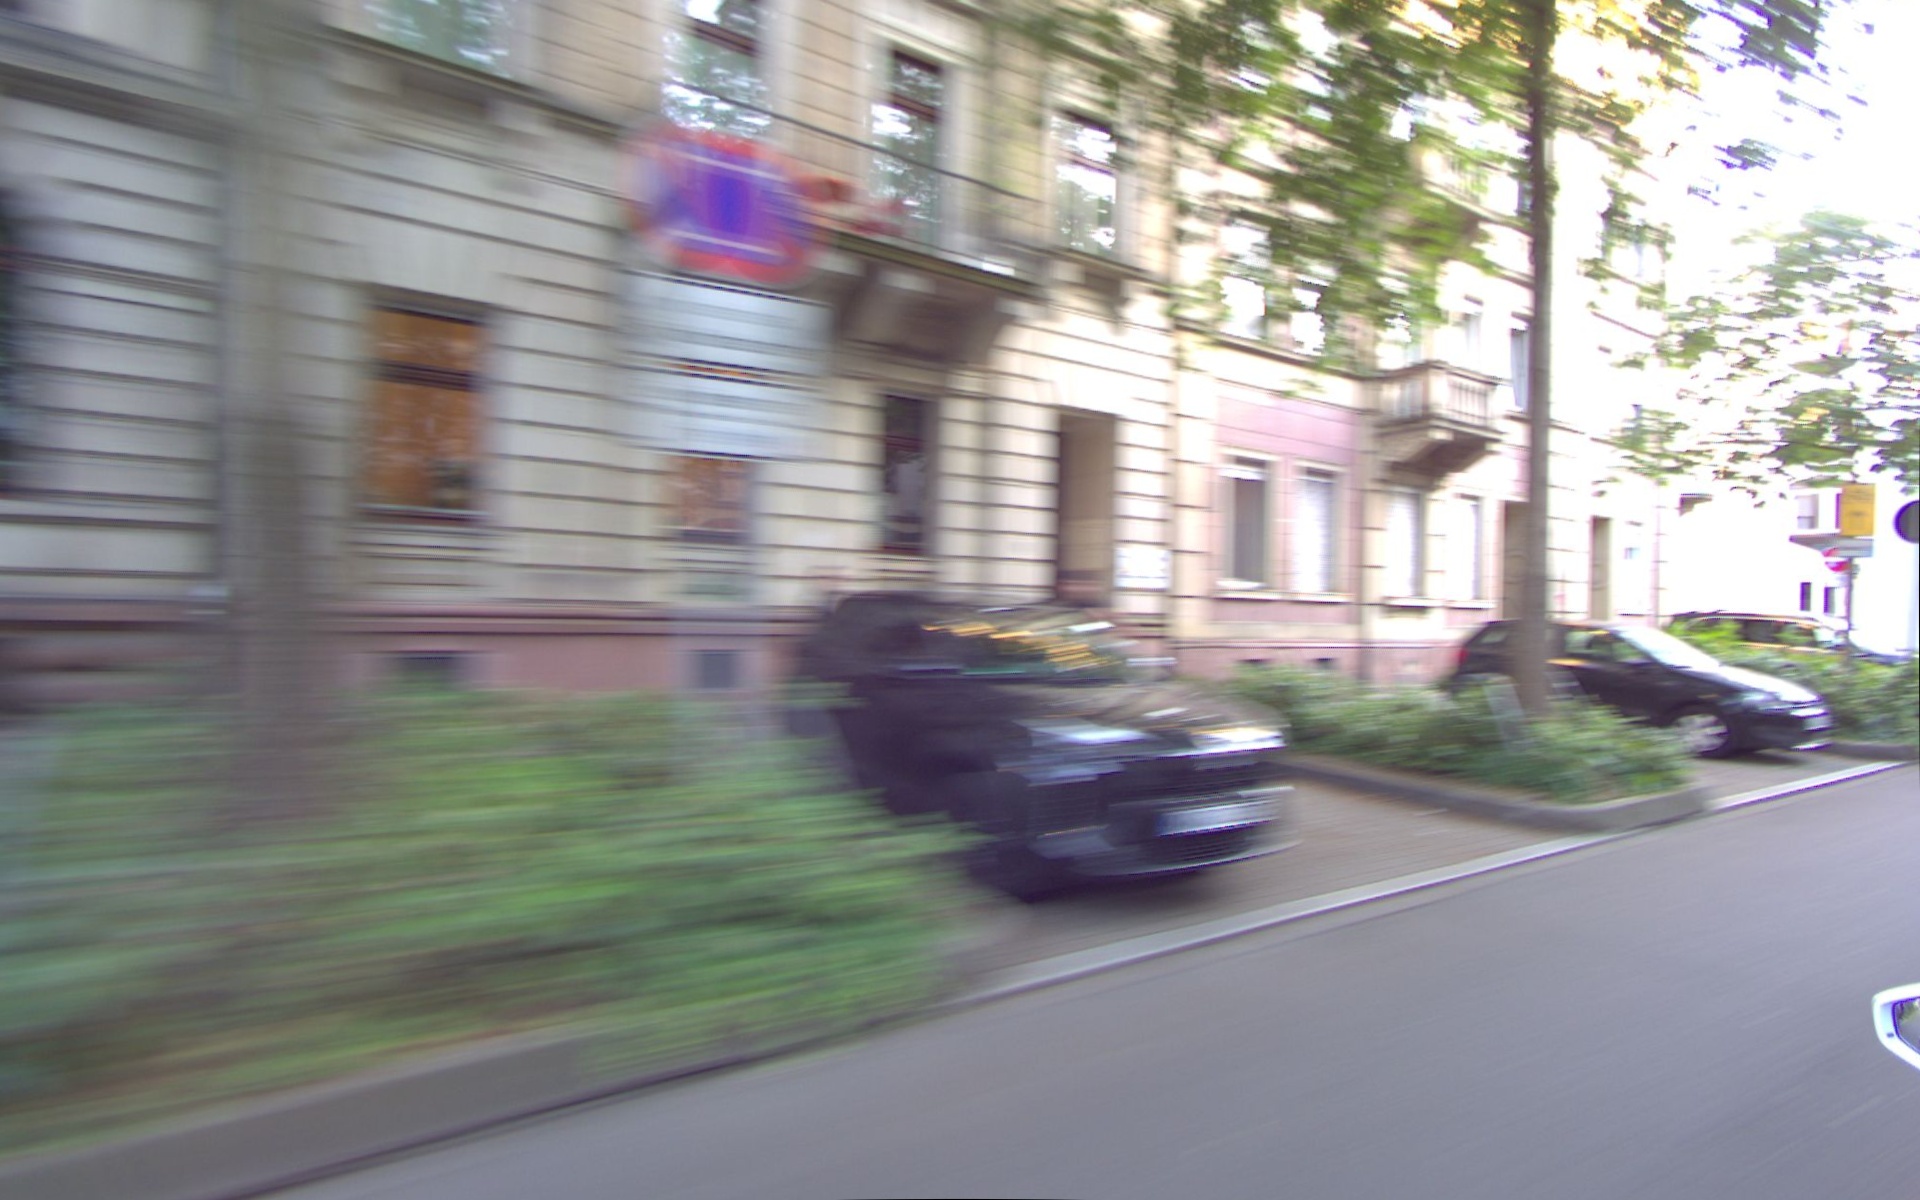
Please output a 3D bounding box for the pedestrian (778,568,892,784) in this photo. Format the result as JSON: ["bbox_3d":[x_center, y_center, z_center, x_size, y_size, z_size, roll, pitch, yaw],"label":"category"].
[{"bbox_3d":[-1.082,0.620,8.640,0.728,1.762,0.665,1,1,-32],"label":"pedestrian"}]

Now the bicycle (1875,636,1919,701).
[{"bbox_3d":[16.856,1.215,17.838,1.845,1.073,0.518,4,1,-37],"label":"bicycle"}]

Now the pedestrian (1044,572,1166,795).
[{"bbox_3d":[1.199,0.659,8.384,0.663,1.762,0.731,1,1,-28],"label":"pedestrian"}]

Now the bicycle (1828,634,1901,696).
[{"bbox_3d":[16.516,1.194,18.333,1.843,1.032,0.519,4,1,-35],"label":"bicycle"}]

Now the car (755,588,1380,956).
[{"bbox_3d":[0.358,0.744,6.461,1.888,1.552,3.920,2,0,-34],"label":"car"}]

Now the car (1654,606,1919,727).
[{"bbox_3d":[14.191,1.011,16.339,1.852,1.673,4.399,1,1,-33],"label":"car"}]

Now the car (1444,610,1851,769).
[{"bbox_3d":[8.174,0.936,12.240,1.853,1.478,3.668,1,1,-34],"label":"car"}]
